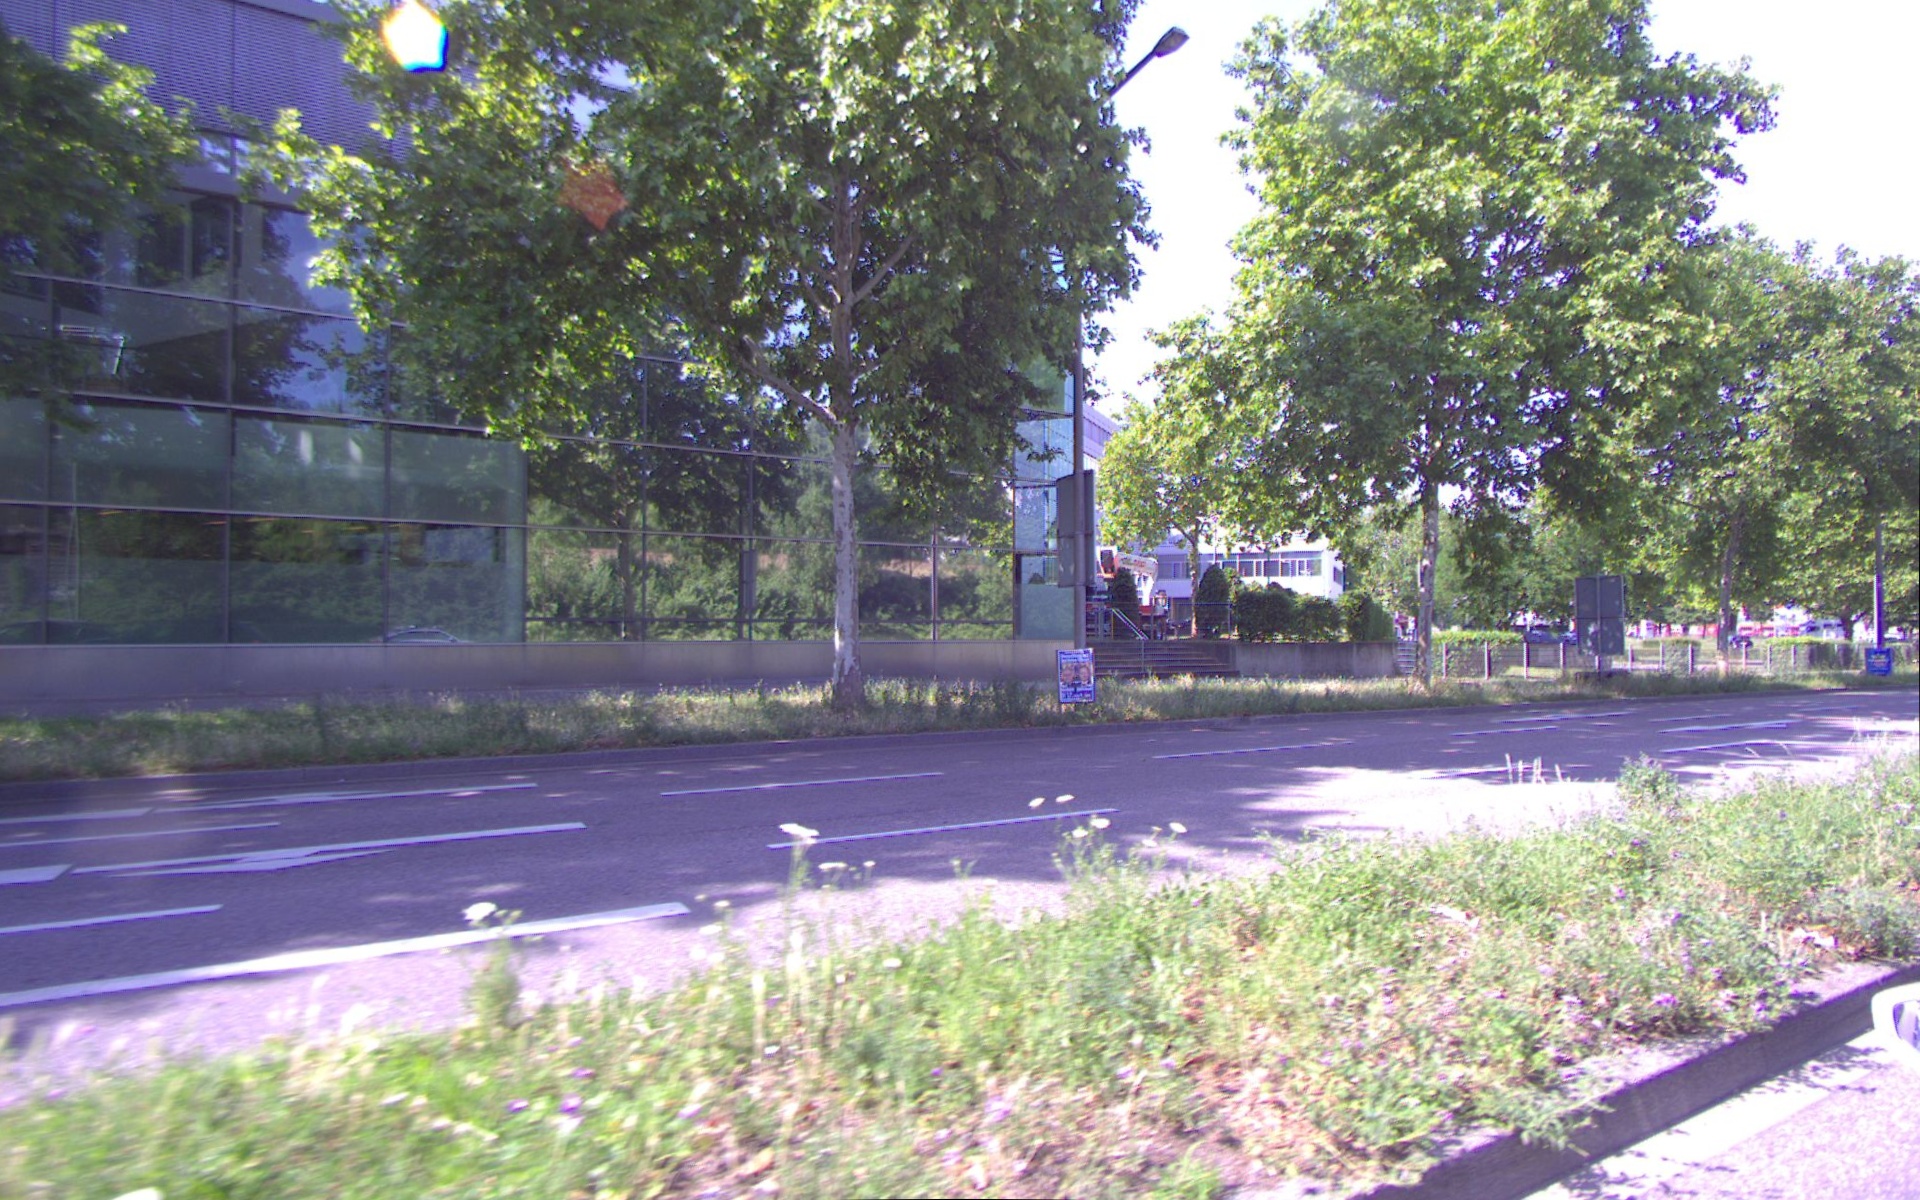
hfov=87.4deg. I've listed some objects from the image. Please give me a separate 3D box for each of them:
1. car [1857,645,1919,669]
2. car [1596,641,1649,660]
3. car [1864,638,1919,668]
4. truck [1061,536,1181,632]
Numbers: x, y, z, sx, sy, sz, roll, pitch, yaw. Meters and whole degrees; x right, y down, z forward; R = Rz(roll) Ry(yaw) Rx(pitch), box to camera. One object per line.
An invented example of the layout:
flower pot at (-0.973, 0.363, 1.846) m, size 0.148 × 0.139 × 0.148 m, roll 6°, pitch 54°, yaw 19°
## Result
car at (58.791, 3.546, 62.605) m, size 1.751 × 1.483 × 3.970 m, roll 1°, pitch -2°, yaw -29°
car at (62.060, 4.706, 94.141) m, size 1.774 × 1.524 × 3.989 m, roll -1°, pitch 0°, yaw -14°
car at (61.254, 3.410, 64.704) m, size 2.128 × 1.847 × 3.974 m, roll 2°, pitch -1°, yaw -26°
truck at (6.741, -0.433, 40.637) m, size 2.622 × 3.440 × 8.985 m, roll 0°, pitch -2°, yaw 24°
